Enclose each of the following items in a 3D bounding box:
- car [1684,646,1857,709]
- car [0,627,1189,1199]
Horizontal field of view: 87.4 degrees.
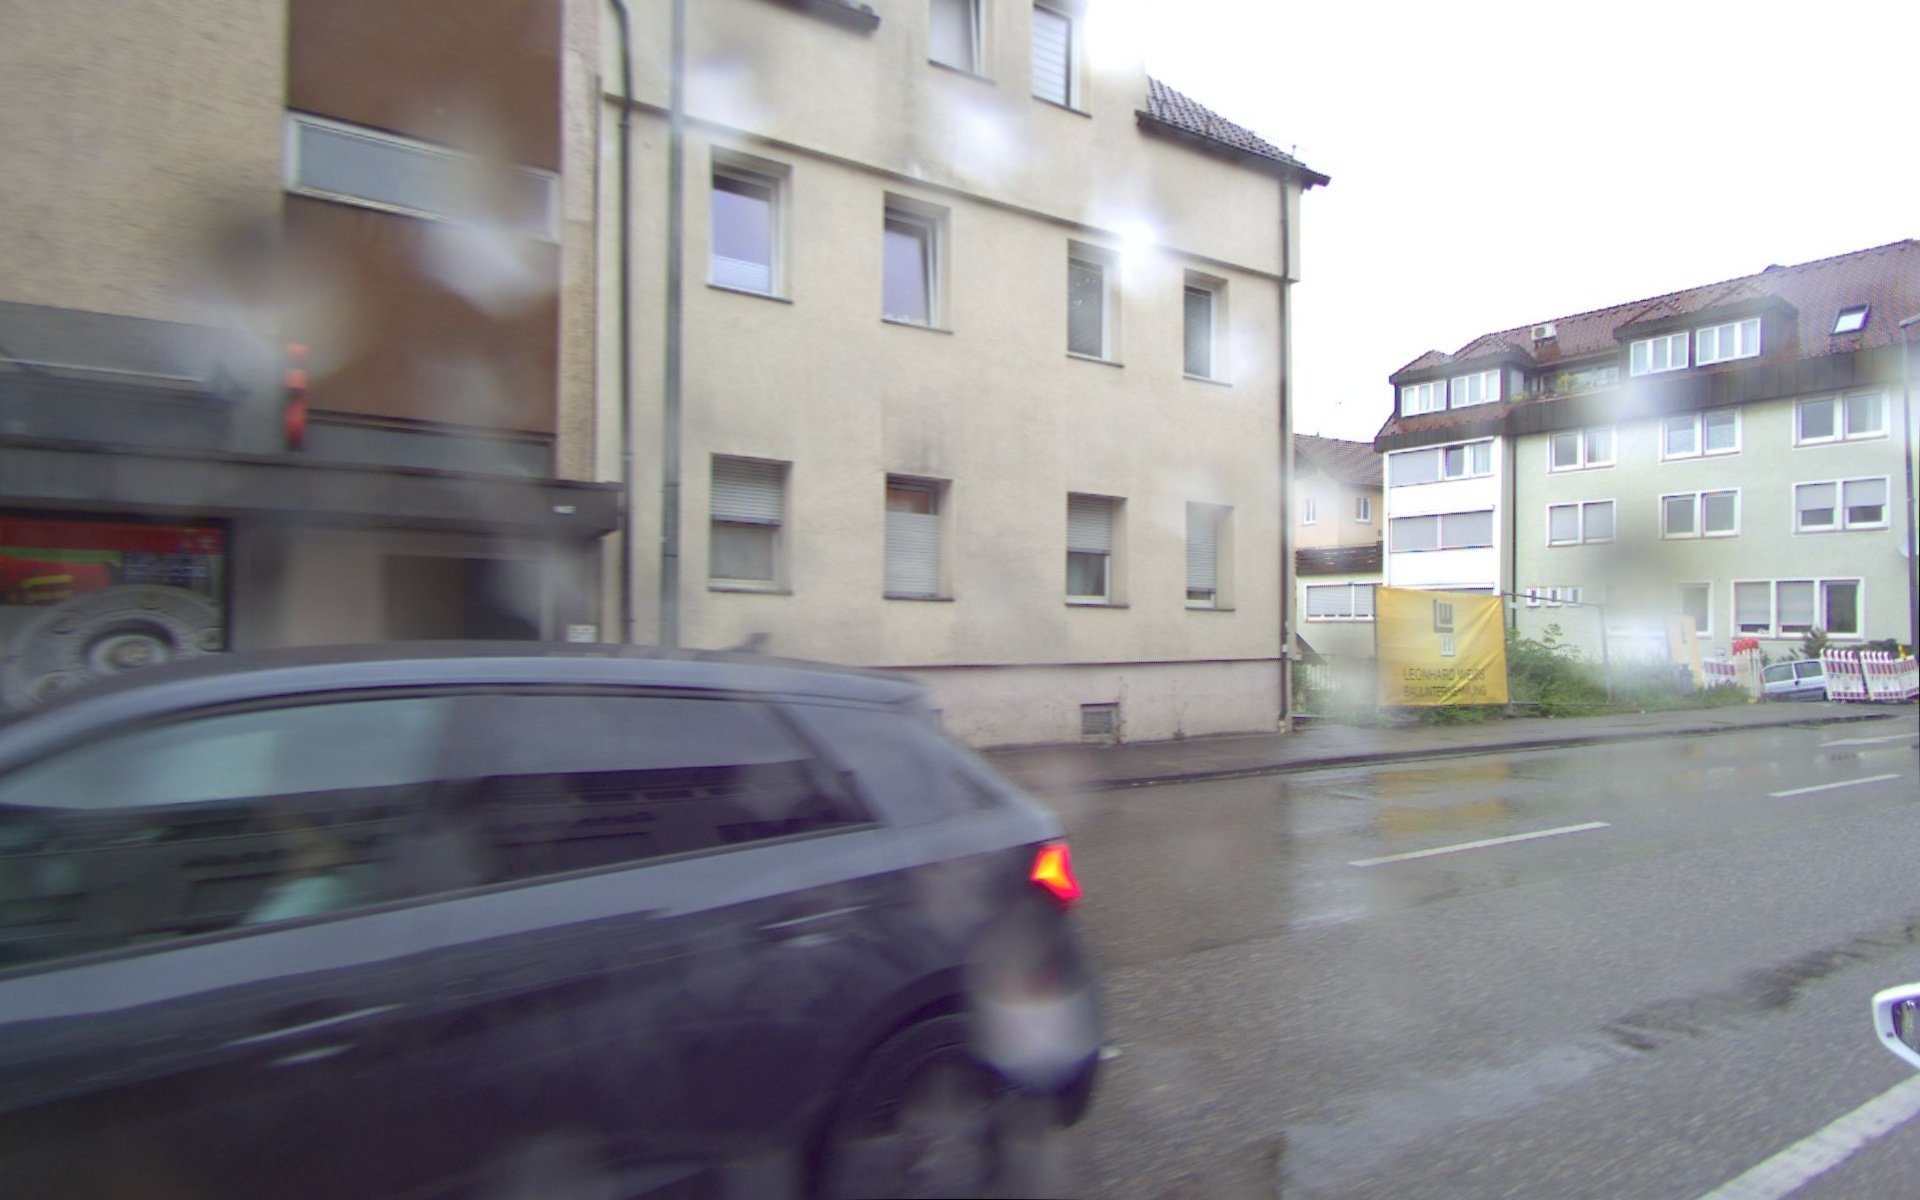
[{"bbox_3d":[23.178,2.248,28.821,1.637,1.407,3.476,-1,-8,-39],"label":"car"},{"bbox_3d":[-1.393,0.773,2.262,3.630,1.401,1.697,1,-1,-33],"label":"car"}]
